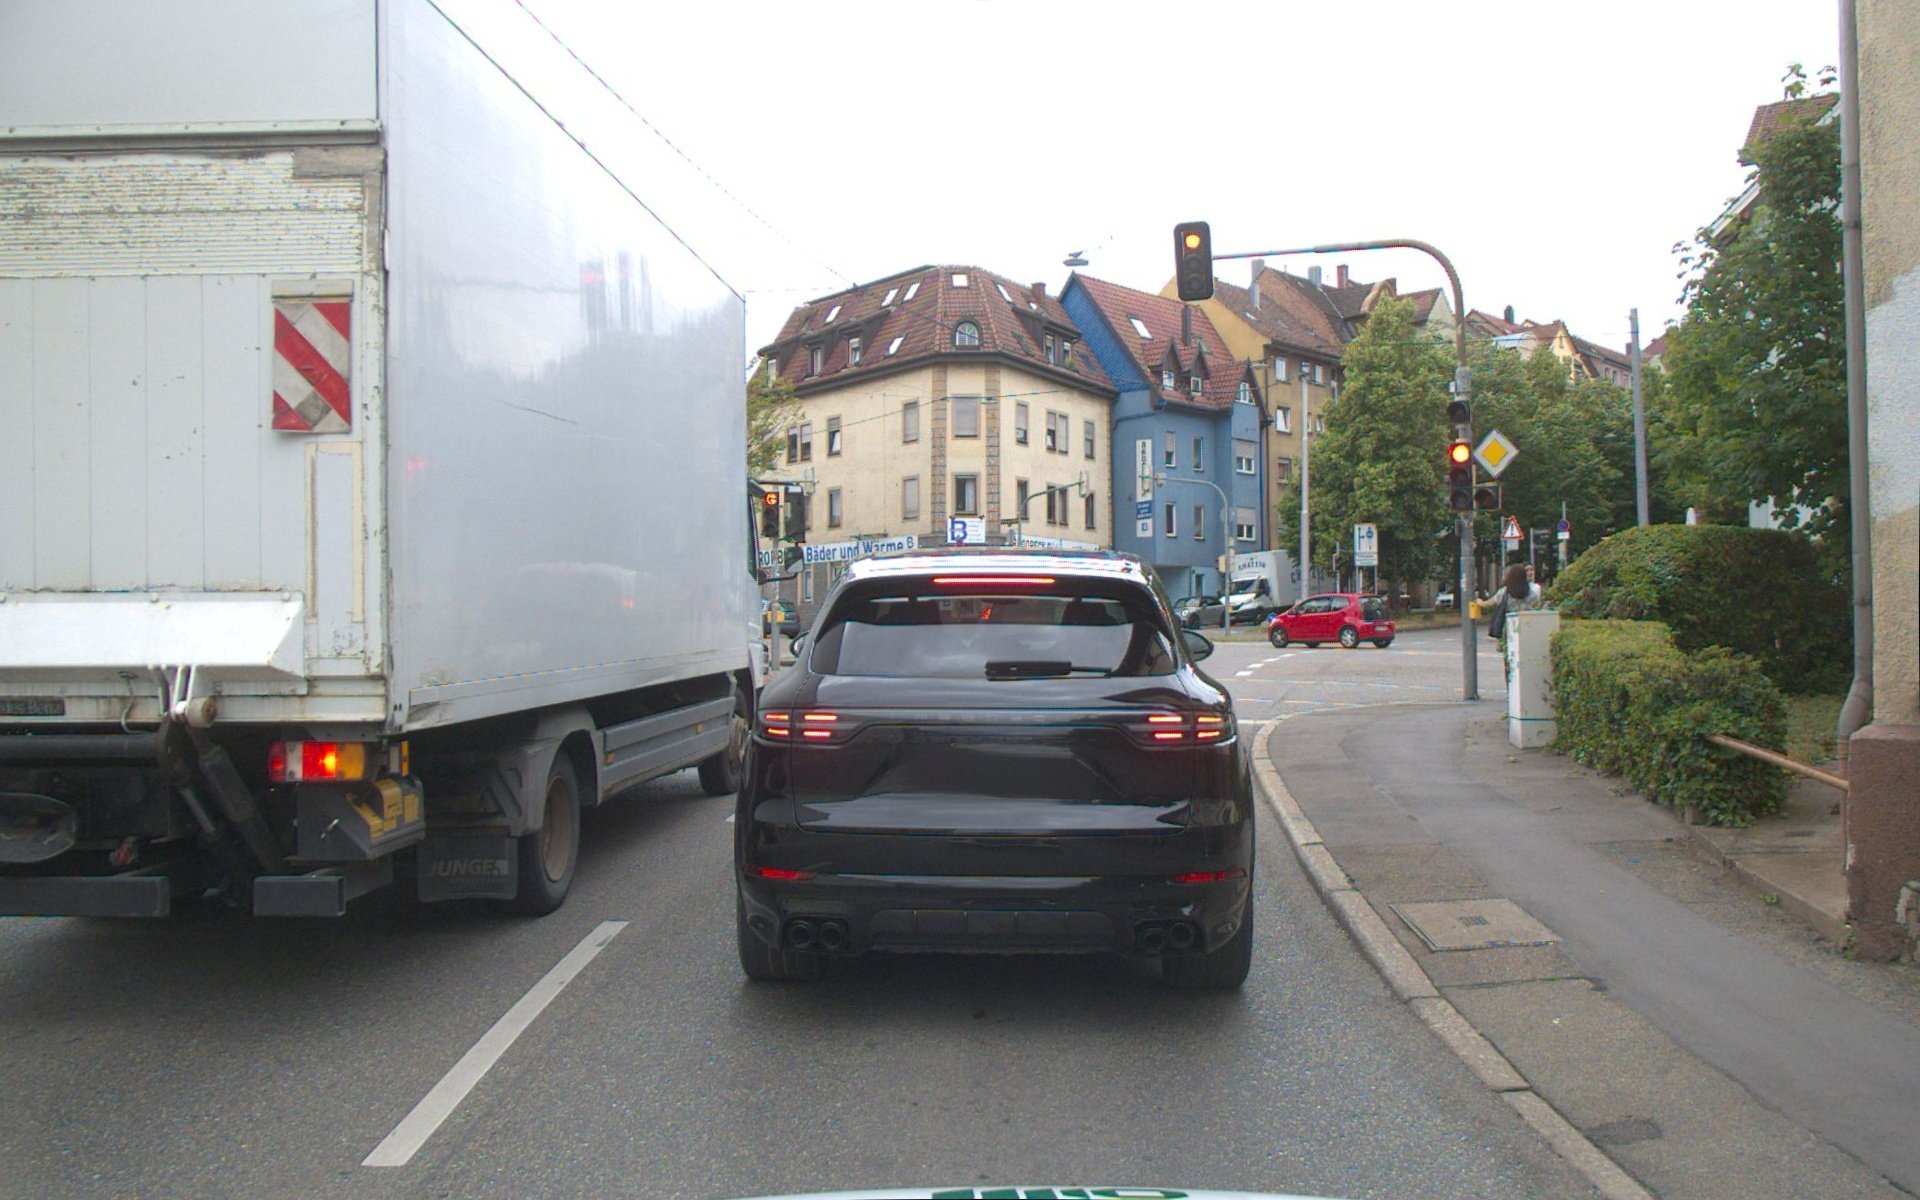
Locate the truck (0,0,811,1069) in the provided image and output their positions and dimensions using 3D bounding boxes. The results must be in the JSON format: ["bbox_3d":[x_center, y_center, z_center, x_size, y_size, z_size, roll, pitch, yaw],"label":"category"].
[{"bbox_3d":[-2.800,-0.450,9.129,2.711,3.637,8.068,0,1,4],"label":"truck"}]

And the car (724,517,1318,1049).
[{"bbox_3d":[0.090,0.562,7.384,1.939,1.713,3.997,0,1,-4],"label":"car"}]

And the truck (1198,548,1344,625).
[{"bbox_3d":[14.911,-0.603,78.732,2.830,3.398,8.744,2,0,41],"label":"truck"}]

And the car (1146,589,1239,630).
[{"bbox_3d":[10.134,0.413,71.940,3.968,1.713,1.968,0,0,-43],"label":"car"}]

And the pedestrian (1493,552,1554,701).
[{"bbox_3d":[7.163,0.337,21.026,0.517,1.851,0.591,2,-1,-1],"label":"pedestrian"}]

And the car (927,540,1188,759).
[{"bbox_3d":[1.031,0.392,15.076,1.951,1.713,4.003,0,0,10],"label":"car"}]

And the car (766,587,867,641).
[{"bbox_3d":[-5.772,0.556,66.331,1.985,2.049,3.935,2,-1,-44],"label":"car"}]

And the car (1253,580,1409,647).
[{"bbox_3d":[10.086,0.341,45.178,1.698,1.691,3.946,2,0,-38],"label":"car"}]

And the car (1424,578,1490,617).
[{"bbox_3d":[28.005,-0.121,93.141,1.965,2.049,3.975,2,0,42],"label":"car"}]

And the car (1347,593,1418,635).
[{"bbox_3d":[22.210,0.753,86.798,1.965,2.049,3.975,2,0,42],"label":"car"}]
